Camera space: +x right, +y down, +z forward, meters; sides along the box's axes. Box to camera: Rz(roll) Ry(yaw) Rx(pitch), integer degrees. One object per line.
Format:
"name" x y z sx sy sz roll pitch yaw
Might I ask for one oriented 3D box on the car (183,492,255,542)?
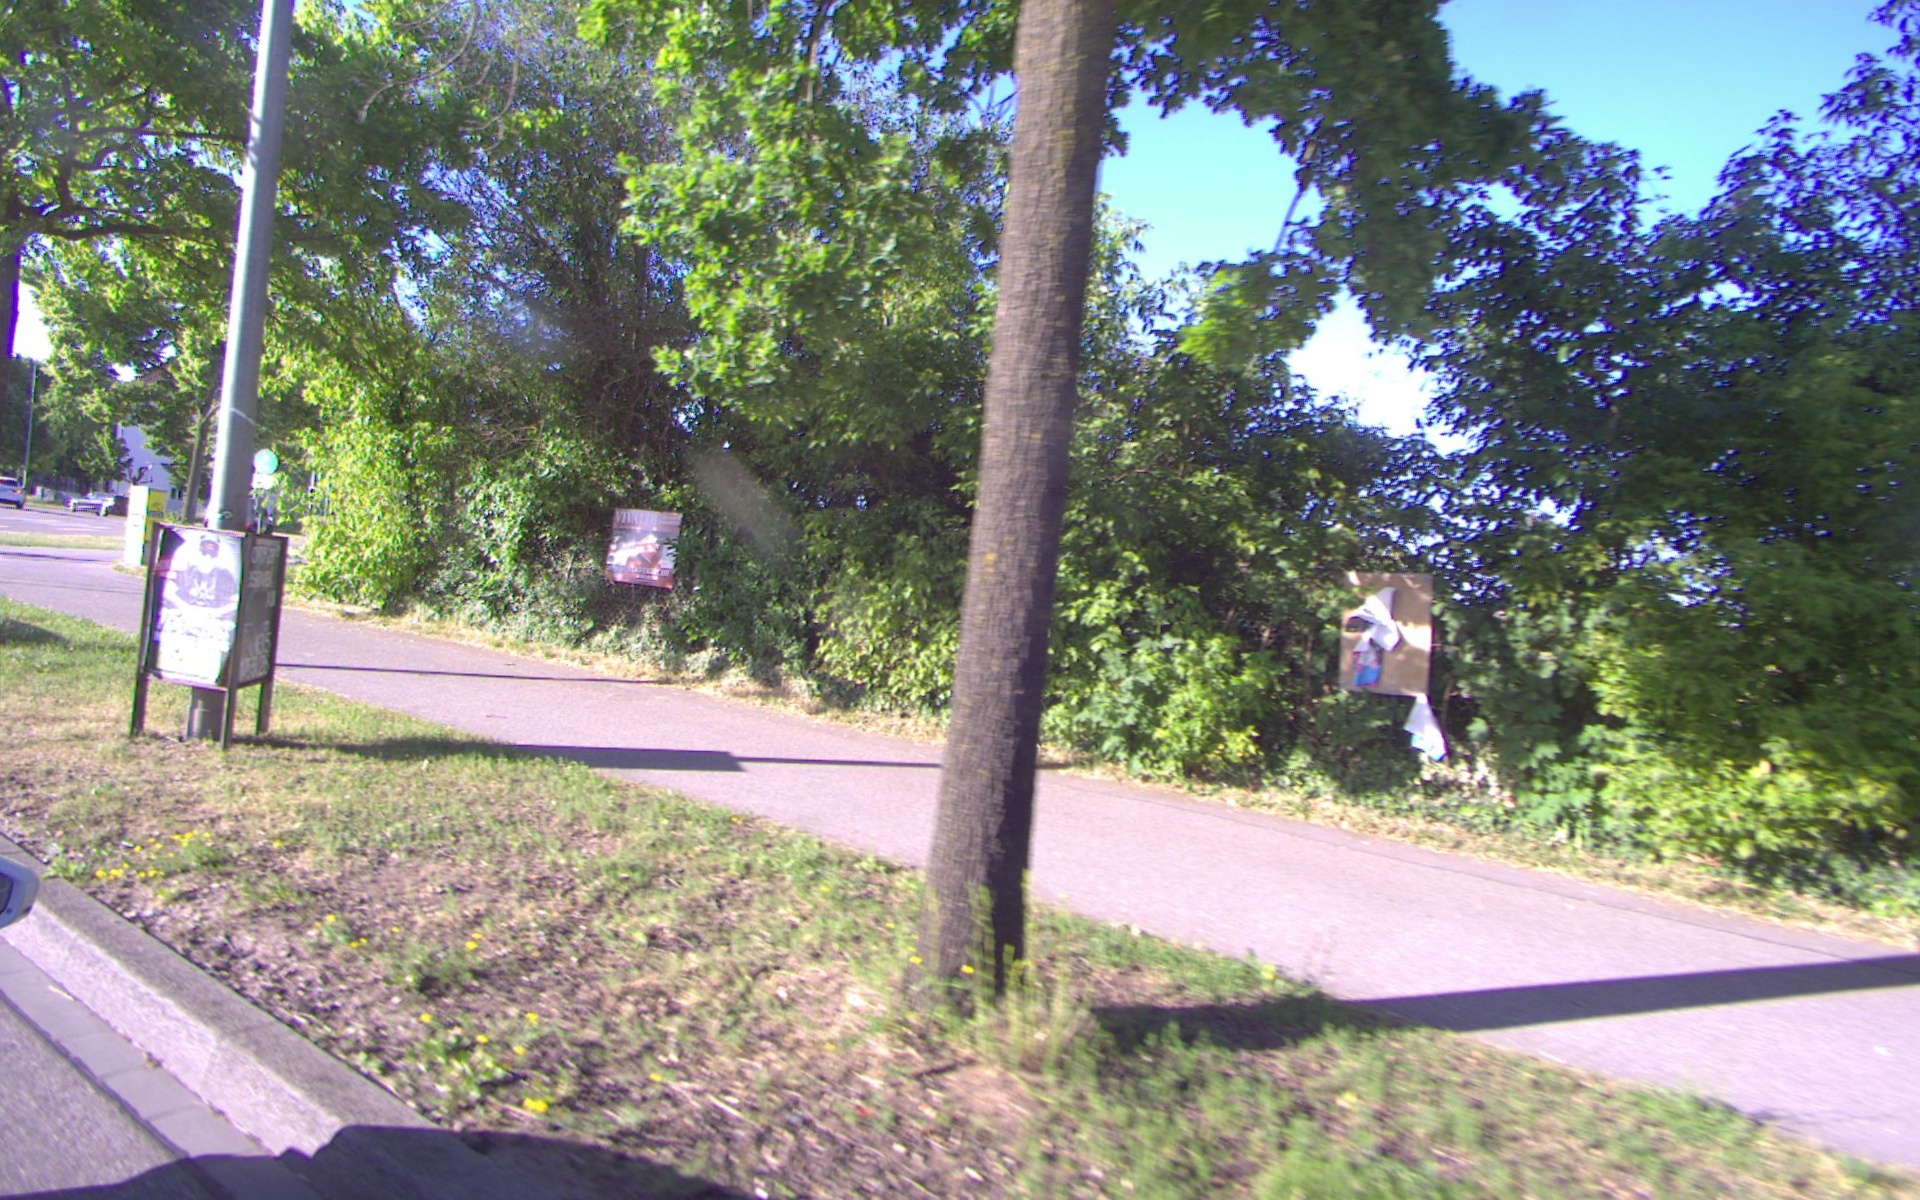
"car" -33.646 -3.758 45.616 1.990 1.920 4.695 6 0 -43

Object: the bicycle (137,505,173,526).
"bicycle" -60.467 -6.328 75.557 2.167 1.280 0.819 6 -1 11

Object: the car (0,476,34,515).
"car" -45.841 -5.090 48.183 1.986 1.660 4.356 6 1 -41

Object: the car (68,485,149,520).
"car" -53.156 -6.094 62.820 4.327 1.558 1.999 7 1 21

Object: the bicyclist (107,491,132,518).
"bicyclist" -63.654 -7.218 76.188 1.007 1.874 0.885 6 -1 -1
